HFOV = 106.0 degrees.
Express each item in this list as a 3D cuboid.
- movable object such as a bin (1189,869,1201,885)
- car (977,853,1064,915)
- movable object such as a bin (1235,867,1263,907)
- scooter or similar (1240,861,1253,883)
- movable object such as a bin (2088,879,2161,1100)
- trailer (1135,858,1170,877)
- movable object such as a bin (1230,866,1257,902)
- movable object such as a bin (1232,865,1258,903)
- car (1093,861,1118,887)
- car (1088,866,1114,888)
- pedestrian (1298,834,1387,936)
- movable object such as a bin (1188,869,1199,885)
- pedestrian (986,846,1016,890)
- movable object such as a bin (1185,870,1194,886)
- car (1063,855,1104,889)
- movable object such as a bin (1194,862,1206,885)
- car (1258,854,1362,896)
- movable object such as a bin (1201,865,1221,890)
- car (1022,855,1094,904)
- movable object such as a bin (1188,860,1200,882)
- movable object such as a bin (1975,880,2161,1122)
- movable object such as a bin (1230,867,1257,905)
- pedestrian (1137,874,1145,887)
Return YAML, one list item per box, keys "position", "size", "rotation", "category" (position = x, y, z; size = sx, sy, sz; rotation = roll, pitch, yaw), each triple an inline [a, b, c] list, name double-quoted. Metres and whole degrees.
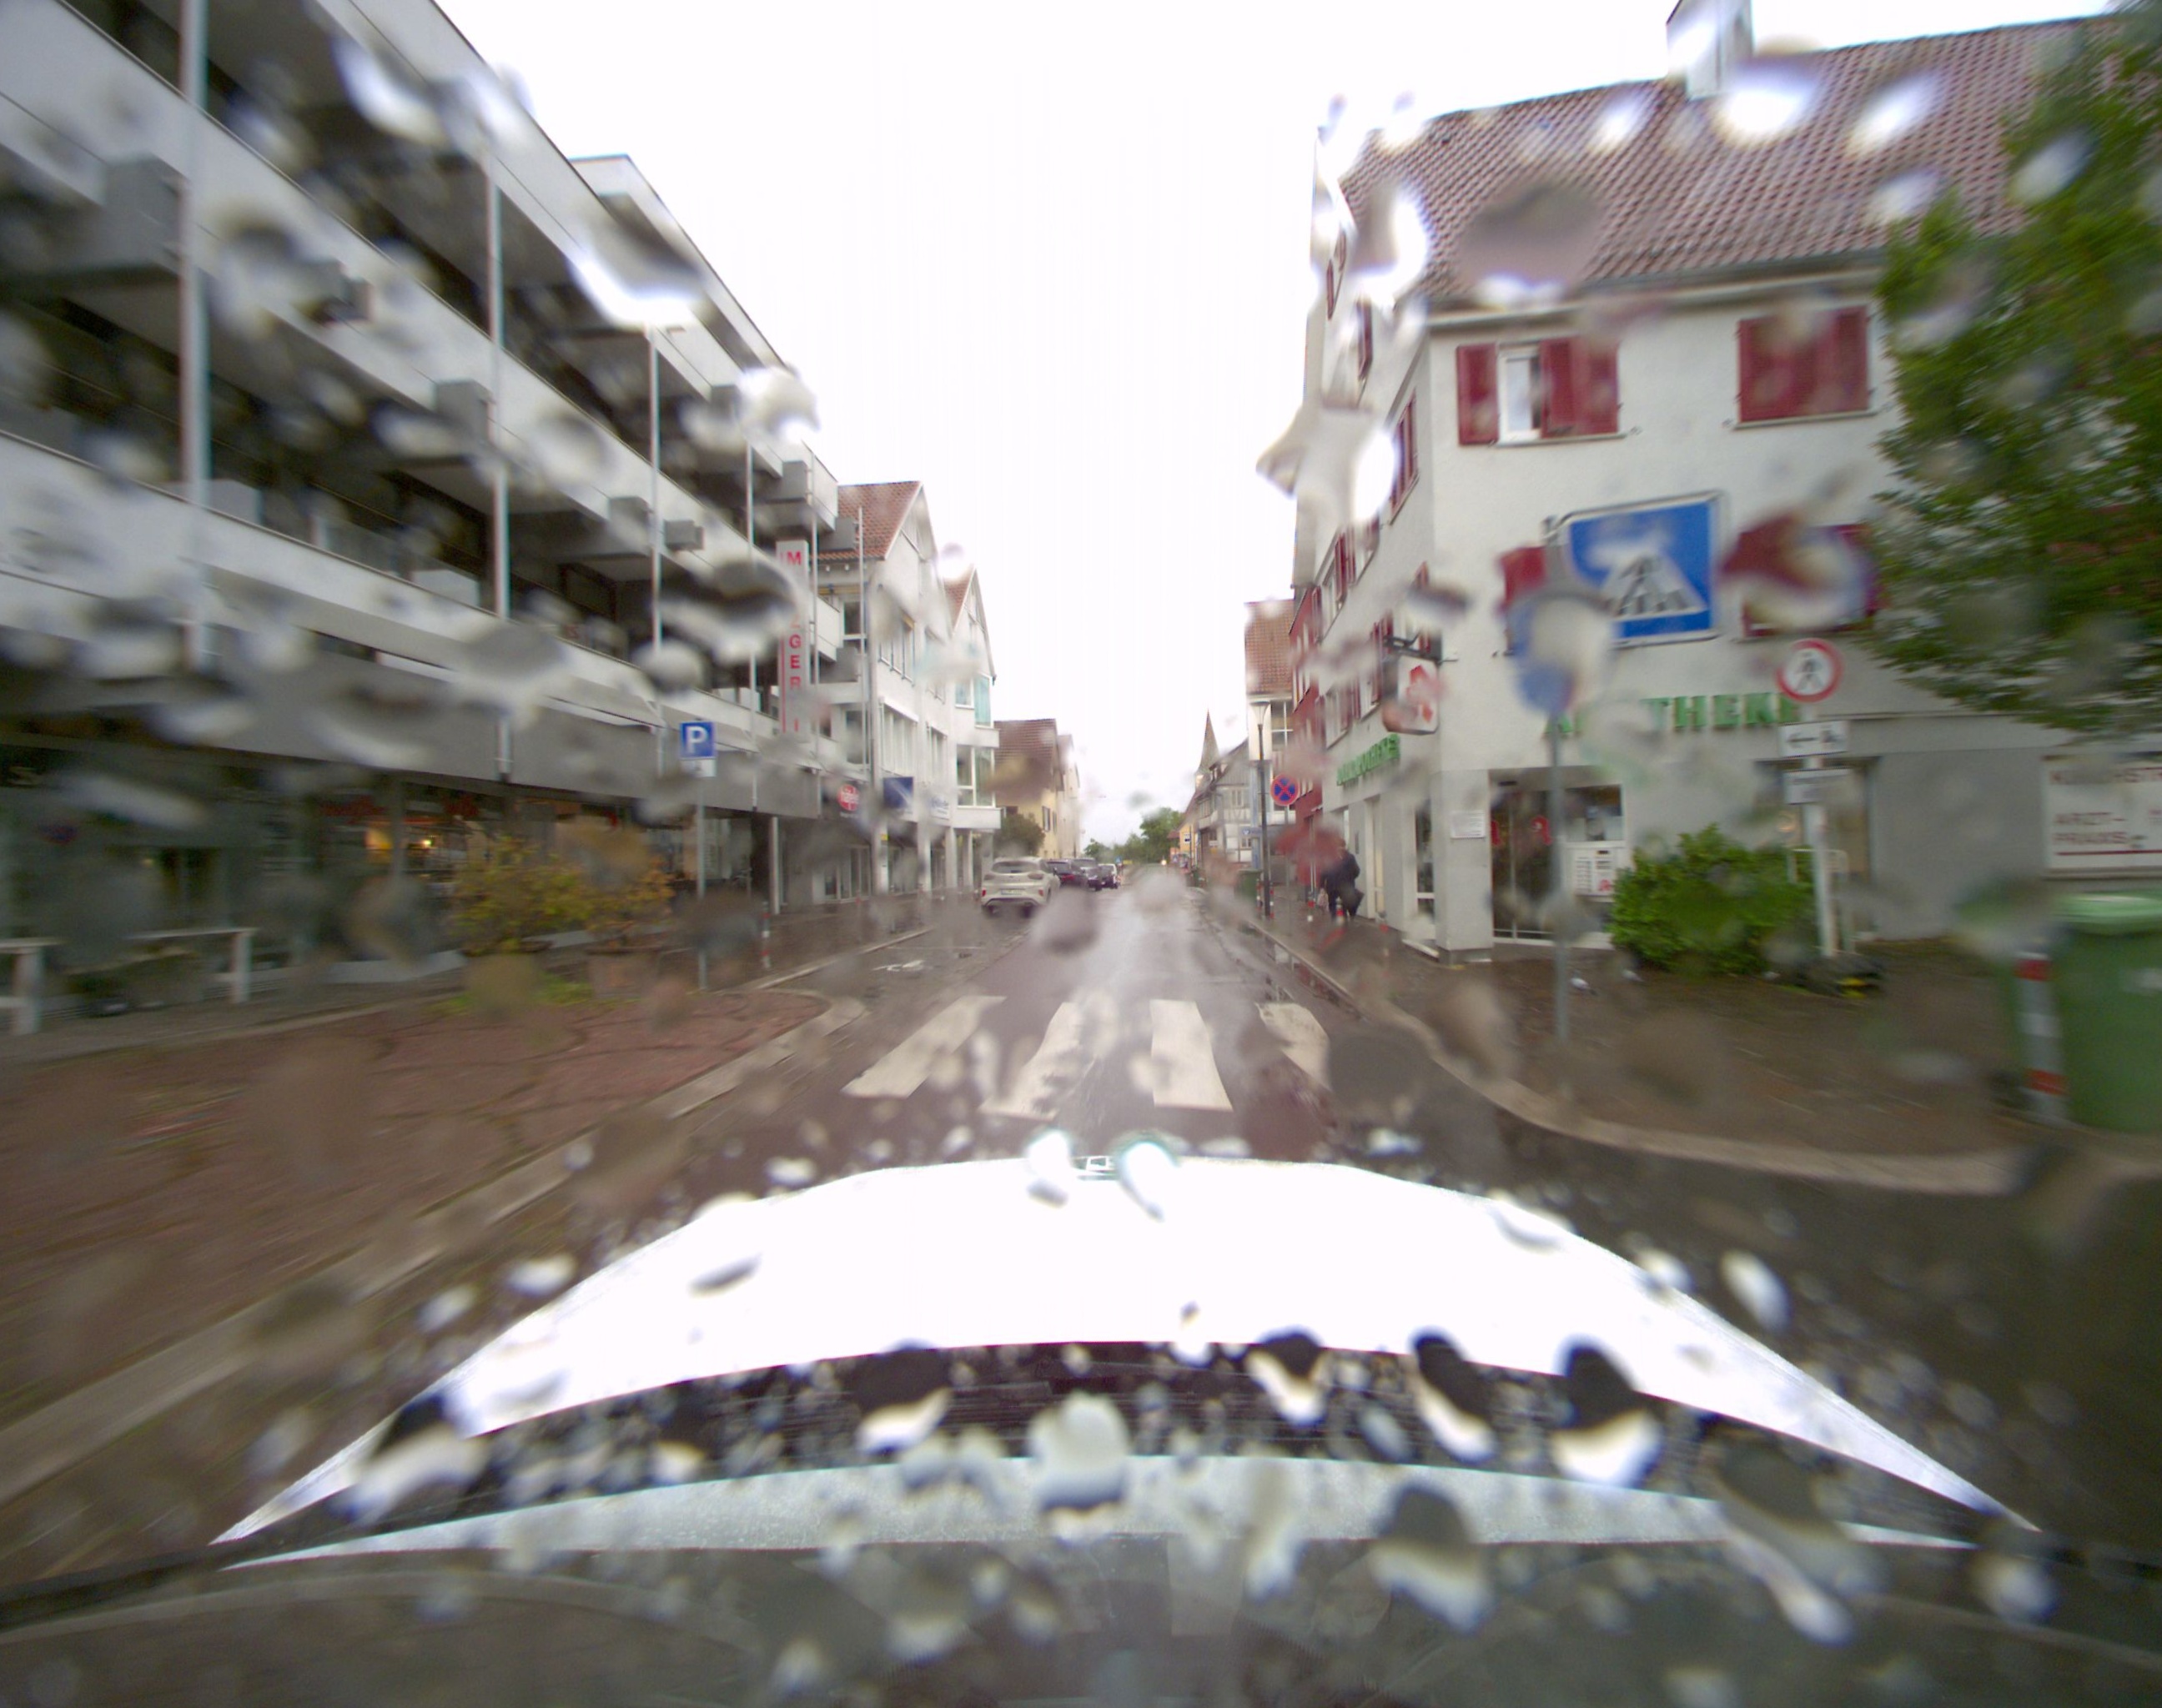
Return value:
- position: [7.782, 1.583, 55.630]
  size: [0.675, 1.097, 0.650]
  rotation: [-1, -2, 1]
  category: "movable object such as a bin"
- position: [-1.569, 0.745, 22.452]
  size: [1.783, 1.551, 4.005]
  rotation: [0, 0, 5]
  category: "car"
- position: [4.702, 0.917, 22.863]
  size: [0.673, 1.086, 0.719]
  rotation: [-2, -1, 6]
  category: "movable object such as a bin"
- position: [8.794, 0.960, 43.263]
  size: [0.660, 1.146, 1.450]
  rotation: [-2, -2, 12]
  category: "scooter or similar"
- position: [5.462, 0.652, 3.899]
  size: [0.498, 1.056, 0.549]
  rotation: [-3, -3, 4]
  category: "movable object such as a bin"
- position: [12.019, 2.244, 137.306]
  size: [5.763, 2.948, 1.999]
  rotation: [-1, -2, -1]
  category: "trailer"
- position: [4.975, 0.906, 24.994]
  size: [0.725, 1.081, 0.647]
  rotation: [-2, -1, 6]
  category: "movable object such as a bin"
- position: [4.894, 0.895, 24.337]
  size: [0.706, 1.094, 0.615]
  rotation: [-2, -1, 6]
  category: "movable object such as a bin"
- position: [1.868, 1.478, 60.131]
  size: [1.716, 1.825, 4.431]
  rotation: [-1, -2, 3]
  category: "car"
- position: [1.337, 1.566, 54.195]
  size: [1.674, 1.389, 3.826]
  rotation: [-1, -2, 2]
  category: "car"
- position: [4.645, 0.546, 14.581]
  size: [1.173, 1.697, 1.178]
  rotation: [-3, -1, 2]
  category: "pedestrian"
- position: [7.862, 1.604, 56.799]
  size: [0.667, 1.081, 0.588]
  rotation: [-3, -3, 3]
  category: "movable object such as a bin"
- position: [-3.350, 0.566, 34.218]
  size: [1.030, 1.806, 1.118]
  rotation: [-1, -1, 5]
  category: "pedestrian"
- position: [7.756, 1.739, 58.237]
  size: [0.634, 1.147, 0.605]
  rotation: [-2, -2, 10]
  category: "movable object such as a bin"
- position: [0.195, 0.926, 41.036]
  size: [1.772, 1.569, 4.411]
  rotation: [-1, -2, 3]
  category: "car"
- position: [6.921, 1.141, 47.480]
  size: [0.634, 1.290, 0.634]
  rotation: [-2, -2, 10]
  category: "movable object such as a bin"
- position: [9.426, 0.887, 33.623]
  size: [3.957, 1.515, 1.919]
  rotation: [-3, -3, 15]
  category: "car"
- position: [6.141, 1.109, 38.548]
  size: [0.800, 1.131, 0.863]
  rotation: [-1, -2, 3]
  category: "movable object such as a bin"
- position: [-0.714, 0.848, 28.606]
  size: [1.821, 1.499, 4.772]
  rotation: [-2, -1, 6]
  category: "car"
- position: [6.792, 1.005, 48.908]
  size: [0.634, 1.290, 0.634]
  rotation: [-2, -2, 10]
  category: "movable object such as a bin"
- position: [4.910, 0.666, 3.928]
  size: [0.498, 1.056, 0.549]
  rotation: [-3, -3, 4]
  category: "movable object such as a bin"
- position: [4.701, 0.927, 23.614]
  size: [0.673, 1.084, 0.699]
  rotation: [-2, -1, 6]
  category: "movable object such as a bin"
- position: [8.321, 3.725, 112.558]
  size: [0.987, 1.759, 0.851]
  rotation: [-1, -2, -1]
  category: "pedestrian"
